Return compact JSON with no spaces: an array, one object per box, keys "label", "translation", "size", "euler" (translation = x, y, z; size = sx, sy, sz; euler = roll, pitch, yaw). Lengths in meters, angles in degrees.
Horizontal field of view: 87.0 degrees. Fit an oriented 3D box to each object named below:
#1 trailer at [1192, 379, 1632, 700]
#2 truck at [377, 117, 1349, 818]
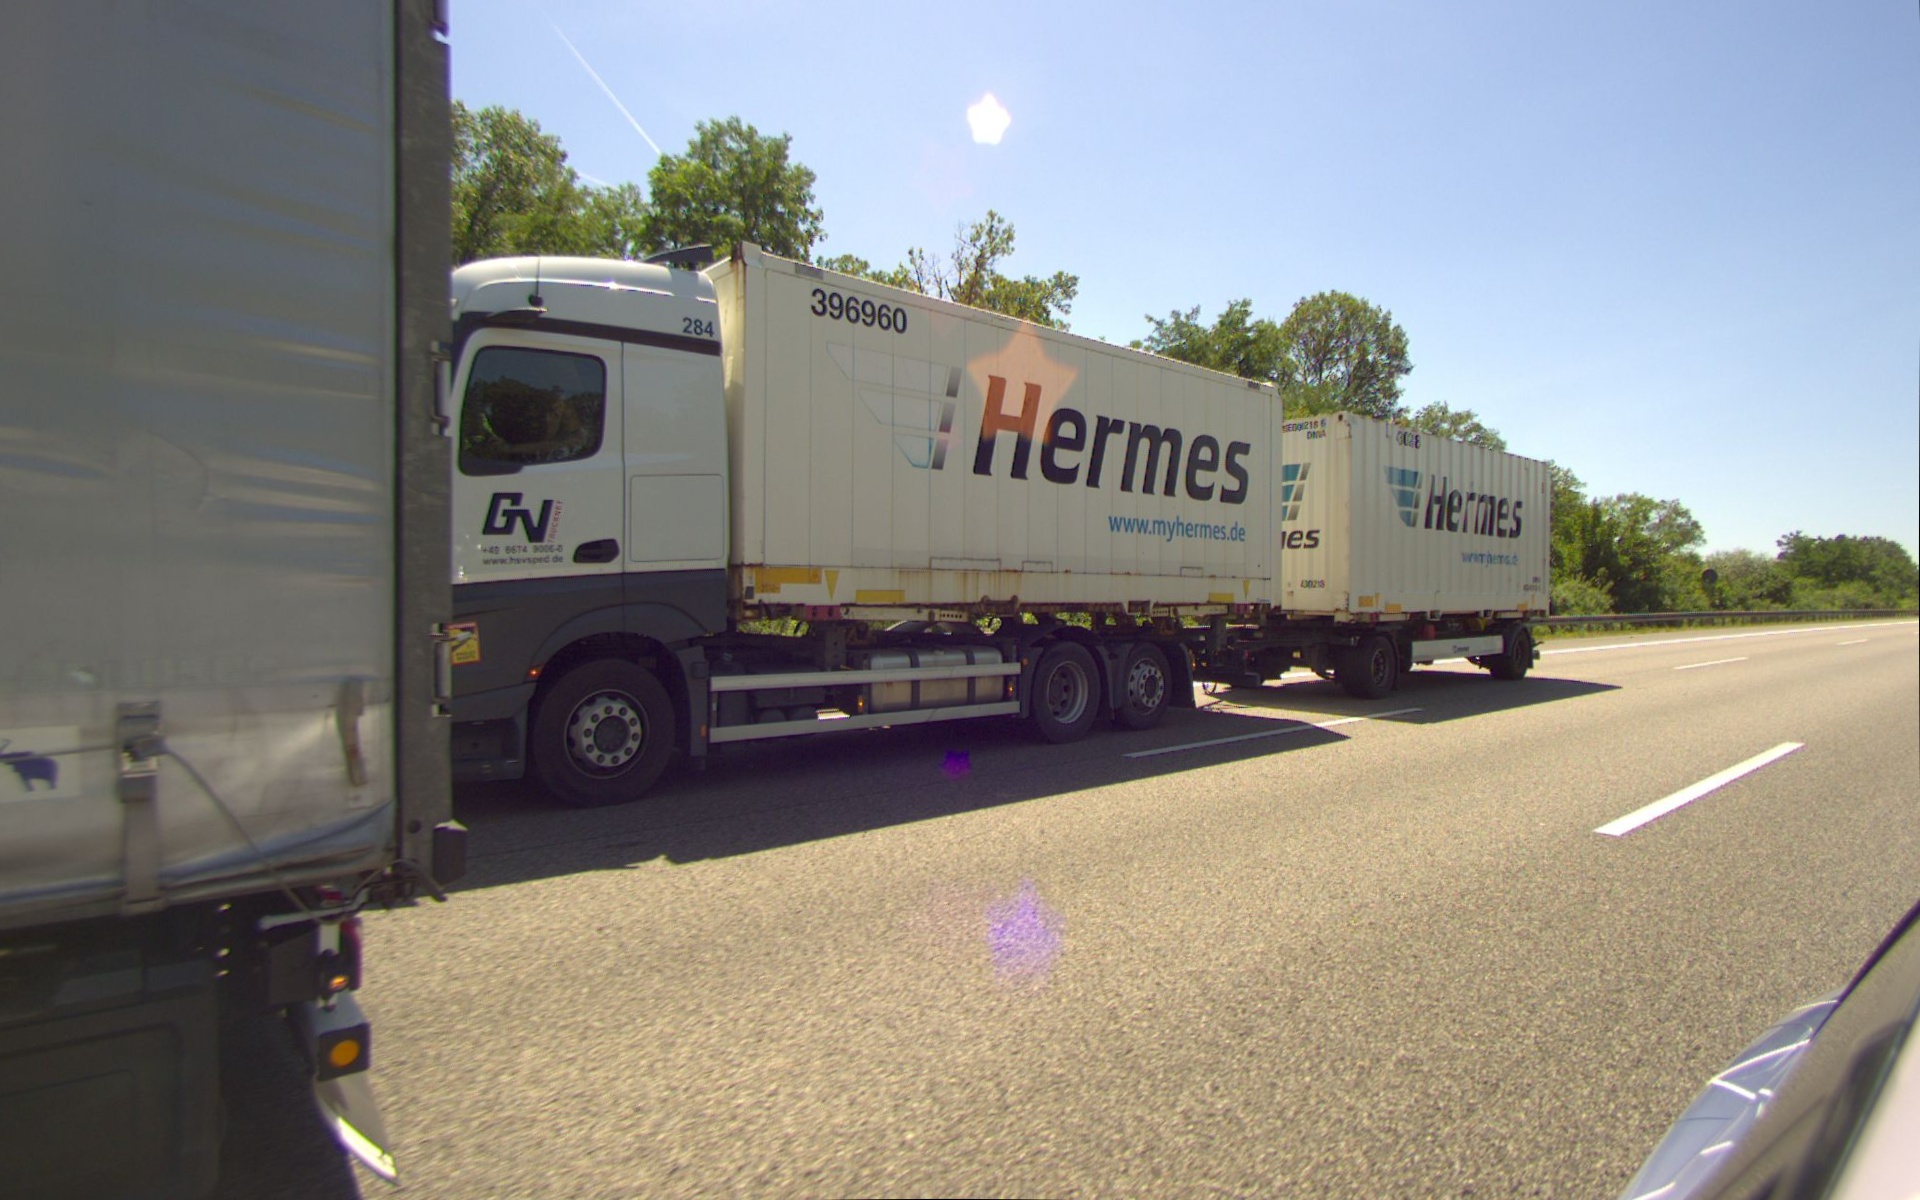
[{"label":"trailer","translation":[8.430,-0.818,17.587],"size":[11.066,4.111,2.559],"euler":[0,0,-41]},{"label":"truck","translation":[0.176,-0.830,10.439],"size":[10.482,4.182,2.531],"euler":[0,0,-41]}]
